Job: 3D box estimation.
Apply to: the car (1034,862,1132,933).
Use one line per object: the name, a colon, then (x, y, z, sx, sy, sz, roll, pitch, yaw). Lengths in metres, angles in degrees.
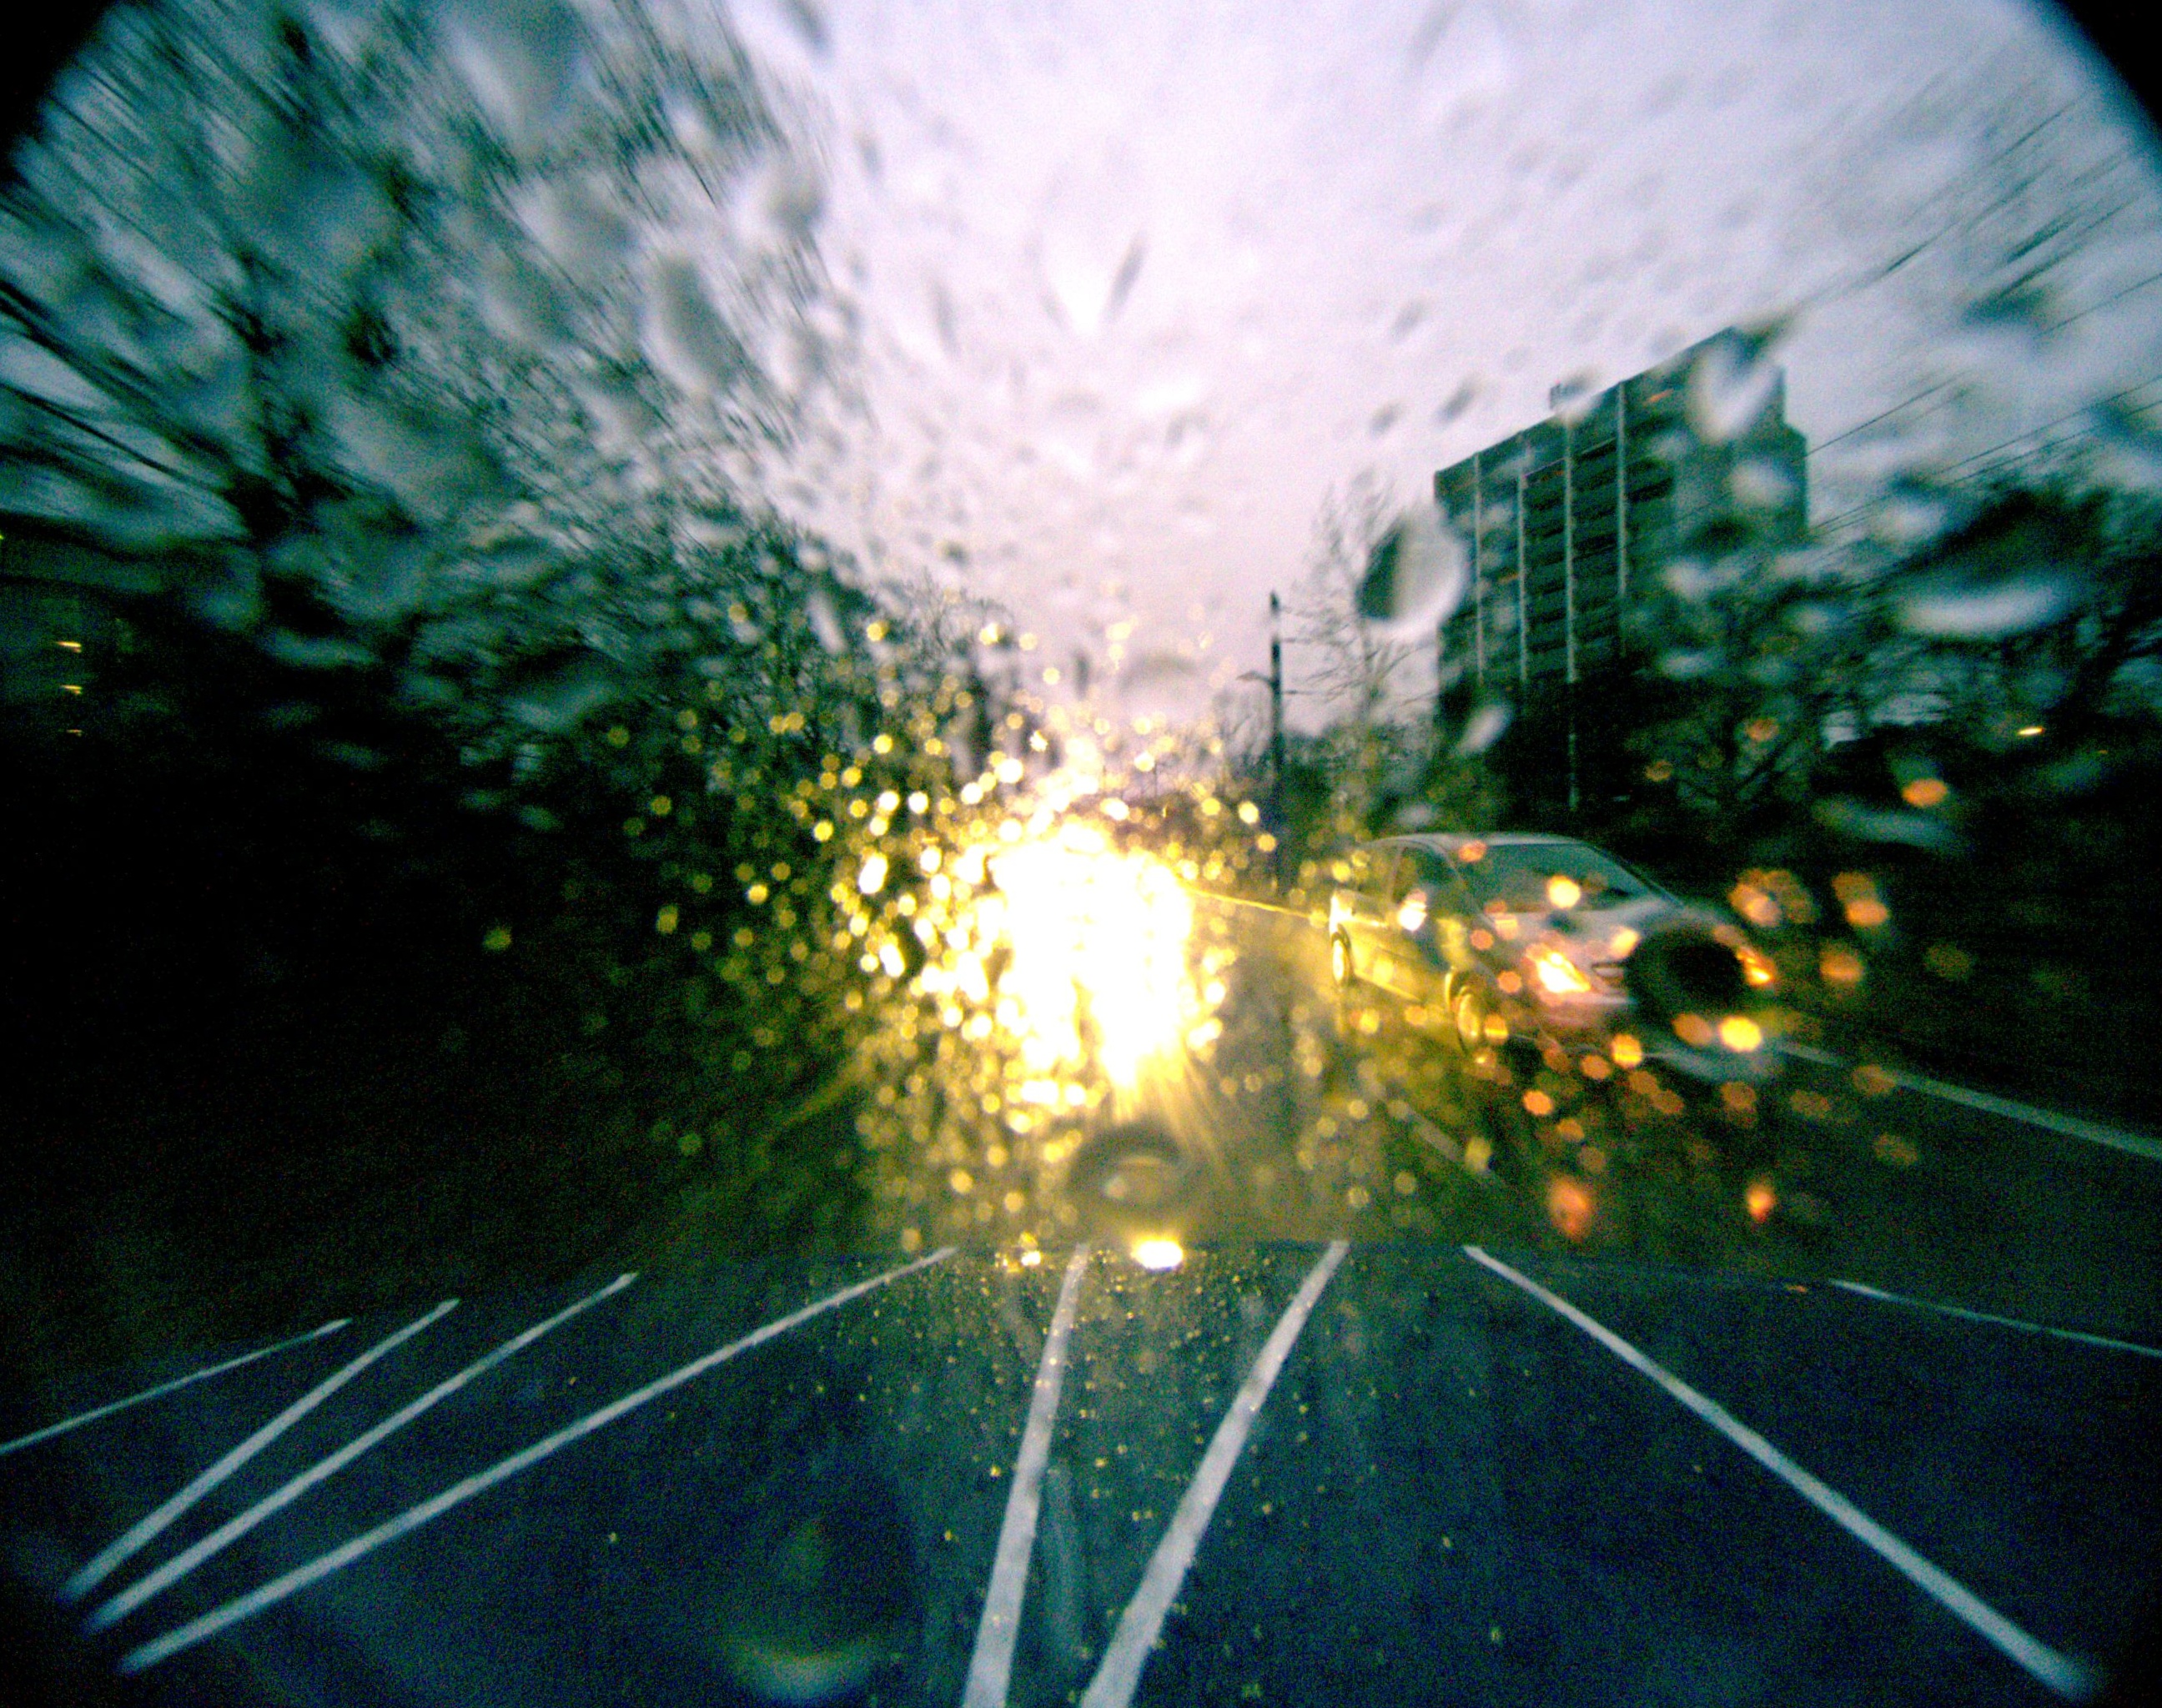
car: (-0.051, 0.881, 17.126, 1.897, 1.347, 4.288, -1, 0, -3)

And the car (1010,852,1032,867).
car: (-6.643, 0.589, 83.677, 1.951, 1.546, 4.213, -3, 0, -10)

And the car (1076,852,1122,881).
car: (0.982, 0.682, 43.618, 1.846, 1.546, 4.213, -3, 0, -9)

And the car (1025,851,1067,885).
car: (-1.813, 0.657, 38.498, 1.950, 1.546, 4.215, -3, 0, -4)

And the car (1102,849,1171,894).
car: (2.066, 0.620, 29.524, 1.925, 1.546, 4.215, -3, 0, -5)

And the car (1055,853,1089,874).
car: (-0.765, 0.725, 60.287, 1.951, 1.546, 4.213, -3, 0, -11)

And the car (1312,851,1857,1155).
car: (3.323, 0.793, 6.057, 1.669, 1.566, 3.922, -3, 0, -1)
